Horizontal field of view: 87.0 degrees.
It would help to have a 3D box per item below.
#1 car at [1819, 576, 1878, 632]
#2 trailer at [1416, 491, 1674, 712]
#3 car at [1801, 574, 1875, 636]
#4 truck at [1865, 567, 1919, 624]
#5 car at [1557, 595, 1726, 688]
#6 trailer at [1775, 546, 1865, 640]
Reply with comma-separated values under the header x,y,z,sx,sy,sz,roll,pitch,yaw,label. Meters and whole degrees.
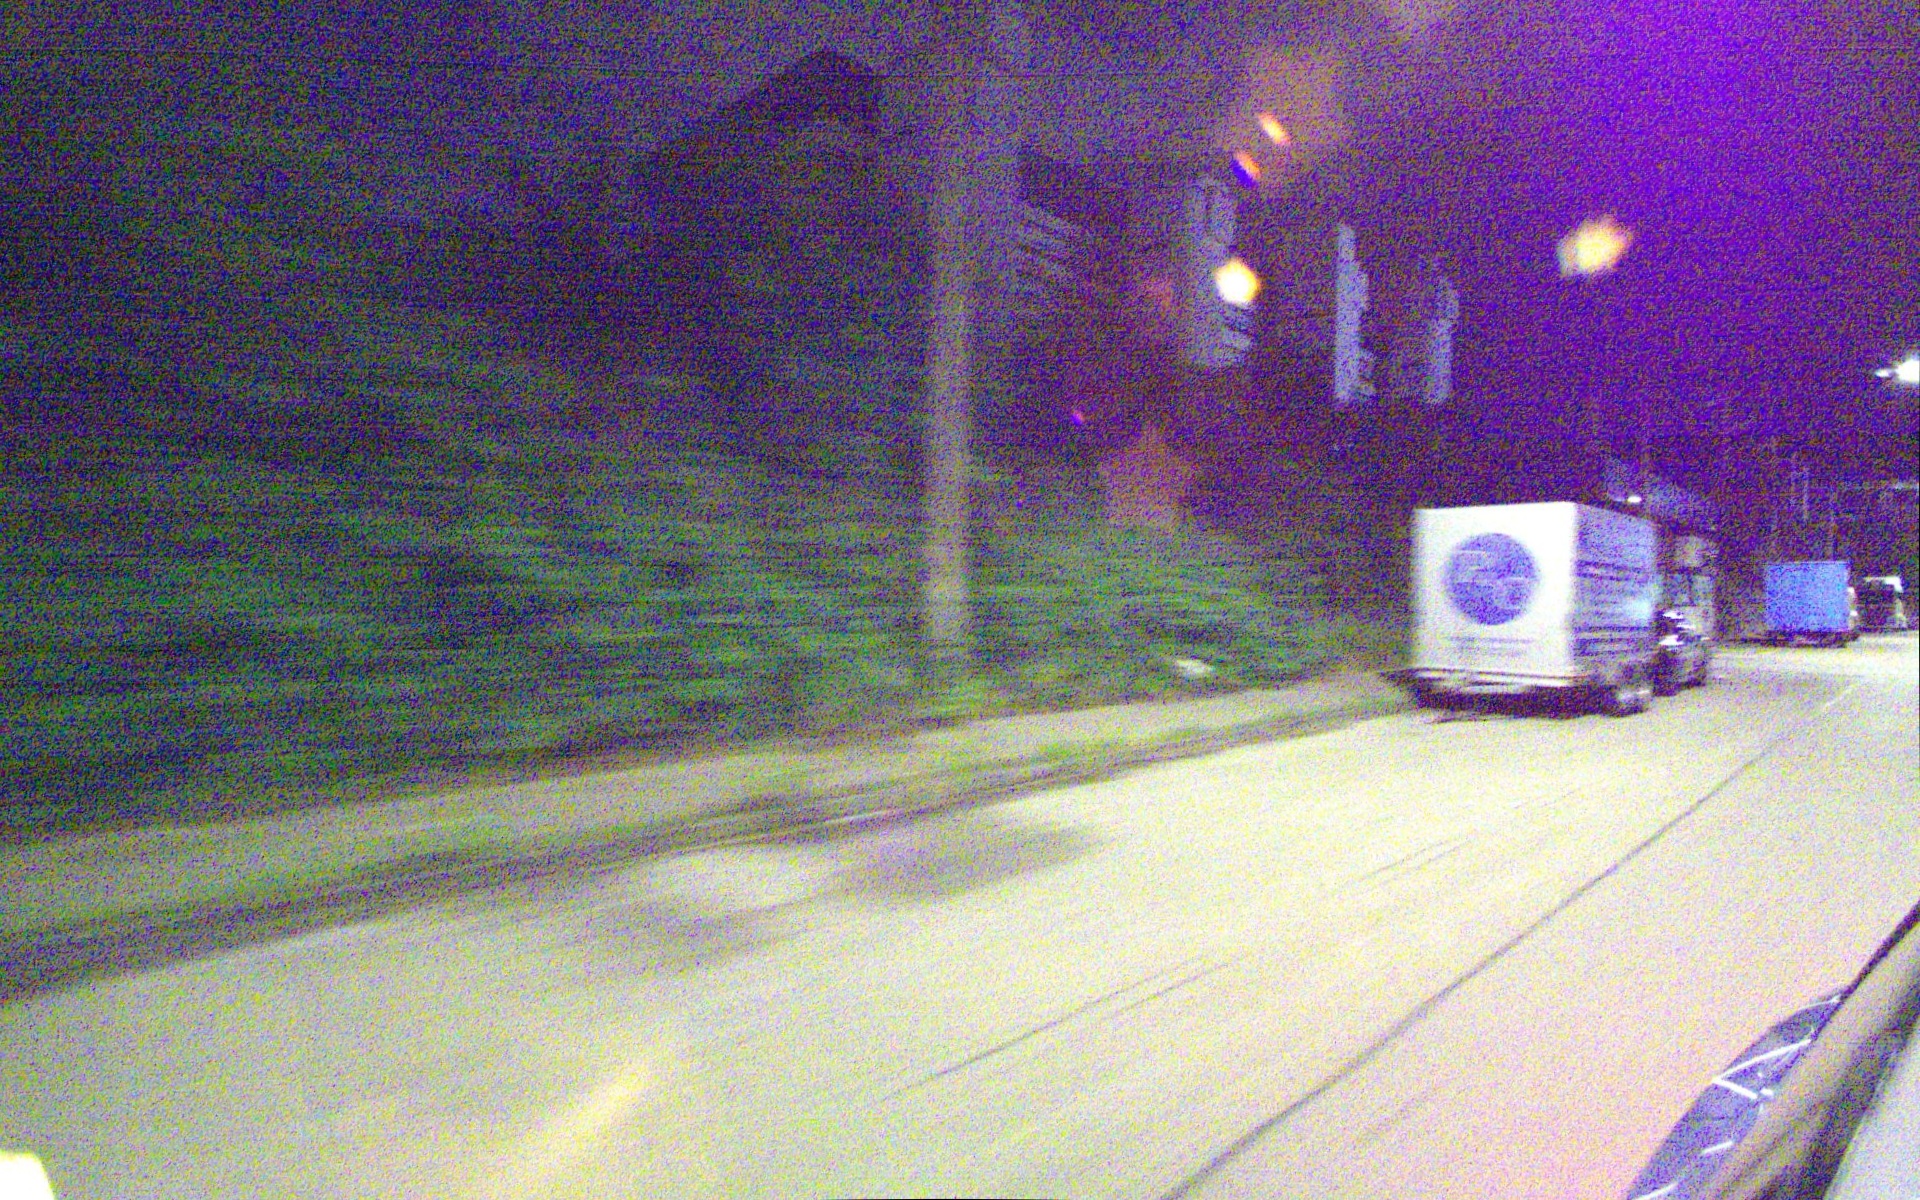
x,y,z,sx,sy,sz,roll,pitch,yaw,label
44.371,0.201,50.487,1.994,2.580,5.930,2,1,43,car
8.361,0.010,14.332,3.931,2.684,1.997,1,1,-42,trailer
39.567,0.205,45.537,6.536,2.580,1.942,1,1,-44,car
69.573,-0.262,74.544,12.432,3.885,2.515,1,1,-40,truck
12.135,0.654,17.889,1.727,1.404,4.602,2,1,44,car
32.876,-0.289,38.656,2.397,3.367,4.295,2,1,43,trailer
